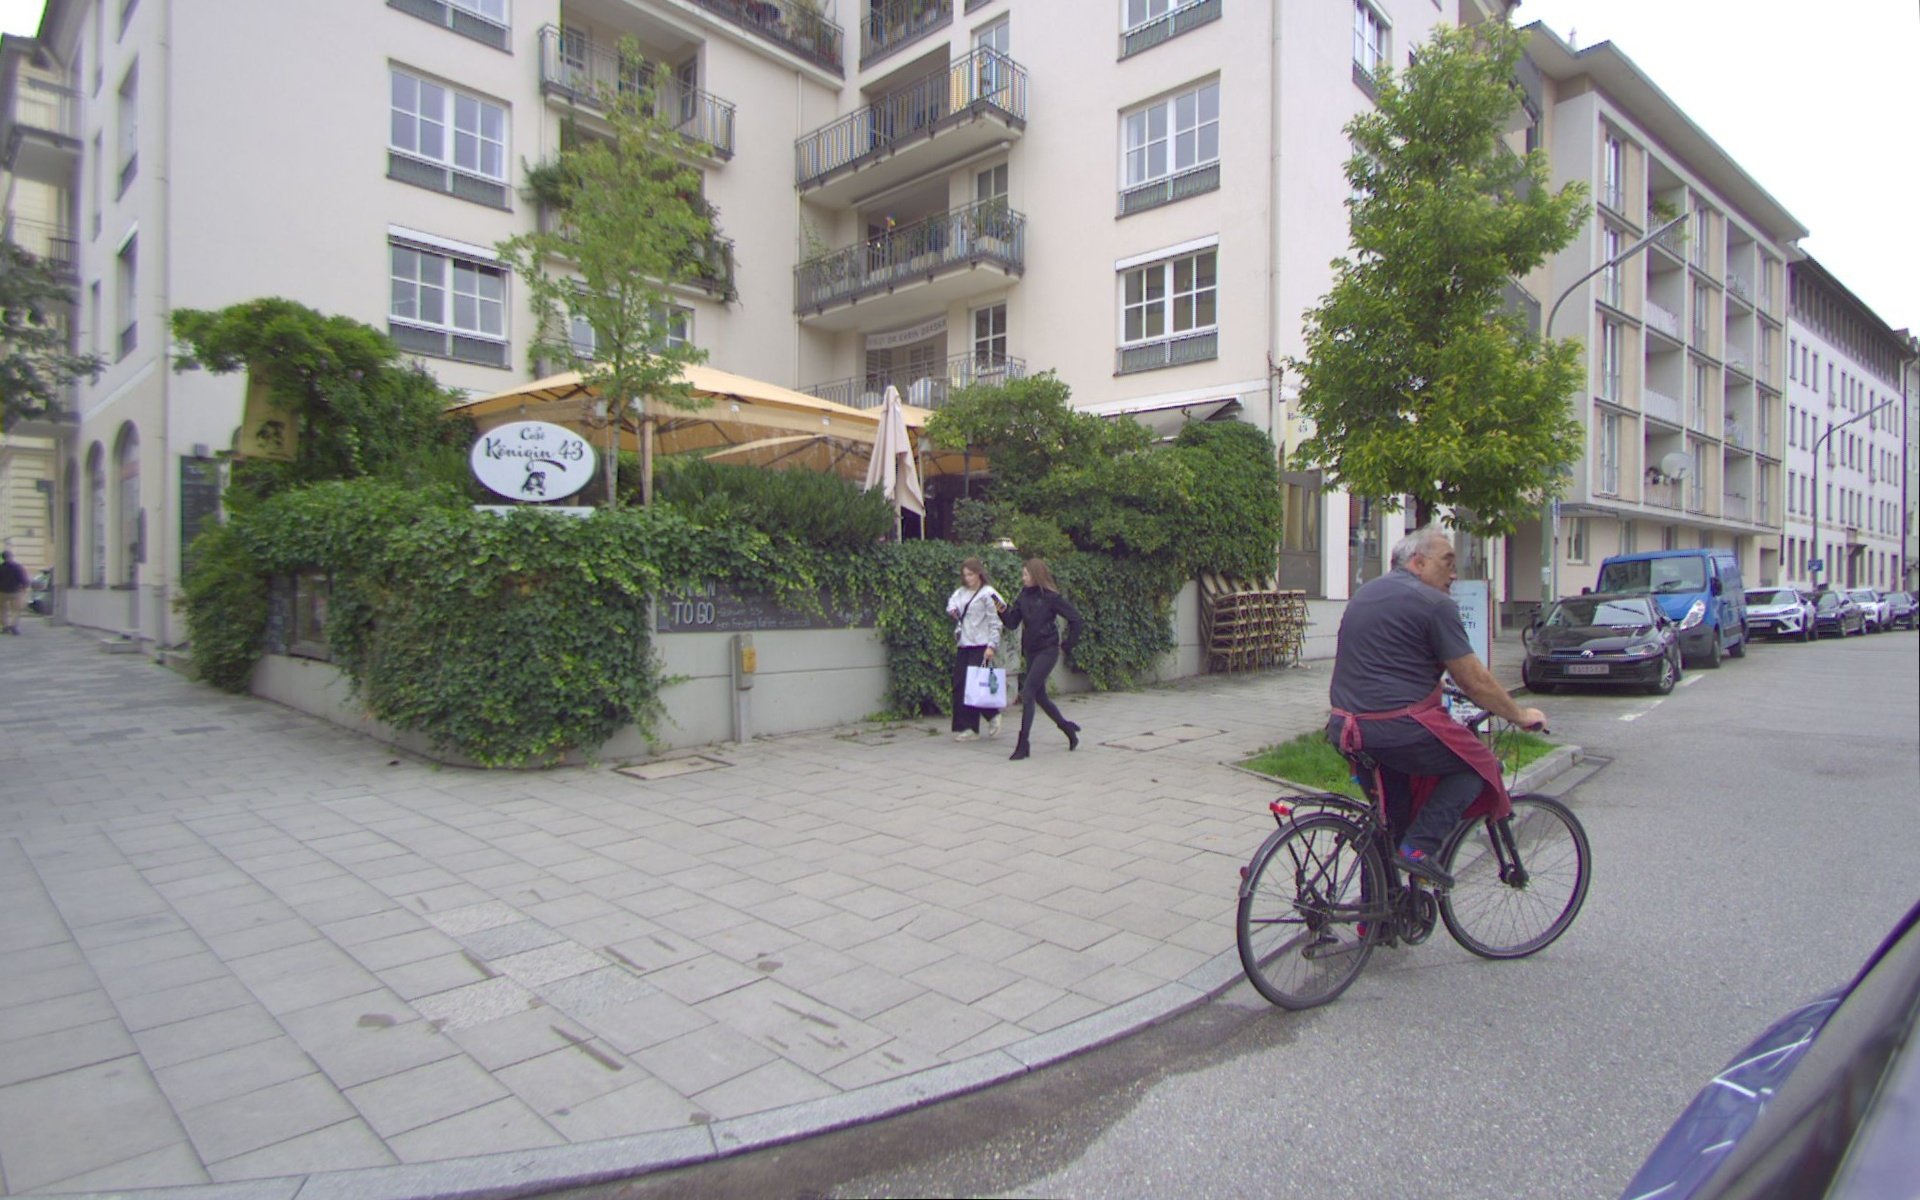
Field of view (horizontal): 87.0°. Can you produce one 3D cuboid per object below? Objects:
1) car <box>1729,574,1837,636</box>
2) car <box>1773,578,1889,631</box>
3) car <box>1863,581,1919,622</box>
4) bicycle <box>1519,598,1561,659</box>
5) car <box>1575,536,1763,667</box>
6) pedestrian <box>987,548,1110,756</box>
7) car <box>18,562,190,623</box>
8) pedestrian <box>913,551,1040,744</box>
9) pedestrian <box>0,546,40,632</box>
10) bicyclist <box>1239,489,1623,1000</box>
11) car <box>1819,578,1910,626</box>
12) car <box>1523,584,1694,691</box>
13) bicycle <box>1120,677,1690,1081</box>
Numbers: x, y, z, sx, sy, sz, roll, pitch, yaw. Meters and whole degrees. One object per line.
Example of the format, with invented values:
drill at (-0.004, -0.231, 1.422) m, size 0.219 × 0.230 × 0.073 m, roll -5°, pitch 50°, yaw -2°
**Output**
car at (22.617, 0.161, 27.753) m, size 4.233 × 1.543 × 1.776 m, roll 1°, pitch -4°, yaw -45°
car at (26.599, 0.148, 30.859) m, size 4.608 × 1.448 × 1.775 m, roll 0°, pitch -4°, yaw -39°
car at (34.629, 0.079, 36.885) m, size 4.409 × 1.399 × 1.831 m, roll 0°, pitch -2°, yaw -39°
bicycle at (11.102, 0.516, 19.357) m, size 0.563 × 1.083 × 1.765 m, roll 1°, pitch 1°, yaw 34°
car at (14.175, -0.029, 20.104) m, size 2.109 × 2.242 × 4.949 m, roll -6°, pitch -2°, yaw 45°
pedestrian at (0.755, 0.393, 8.547) m, size 0.678 × 1.648 × 0.817 m, roll 2°, pitch 2°, yaw 41°
car at (-23.091, -0.211, 27.373) m, size 1.572 × 1.549 × 3.426 m, roll 1°, pitch 1°, yaw 44°
pedestrian at (0.148, 0.380, 9.120) m, size 0.806 × 1.626 × 0.817 m, roll 2°, pitch 2°, yaw 43°
pedestrian at (-19.722, -0.234, 21.062) m, size 0.829 × 1.735 × 0.776 m, roll 1°, pitch 0°, yaw 43°
bicyclist at (1.772, 0.456, 3.865) m, size 1.028 × 1.629 × 0.879 m, roll 1°, pitch 0°, yaw -29°
car at (30.513, 0.071, 34.118) m, size 4.048 × 1.488 × 1.704 m, roll 0°, pitch -3°, yaw -41°
car at (10.018, 0.515, 15.507) m, size 1.711 × 1.412 × 3.943 m, roll -3°, pitch -2°, yaw 39°
bicycle at (1.741, 0.883, 3.864) m, size 2.146 × 1.032 × 0.880 m, roll 0°, pitch 1°, yaw -30°
